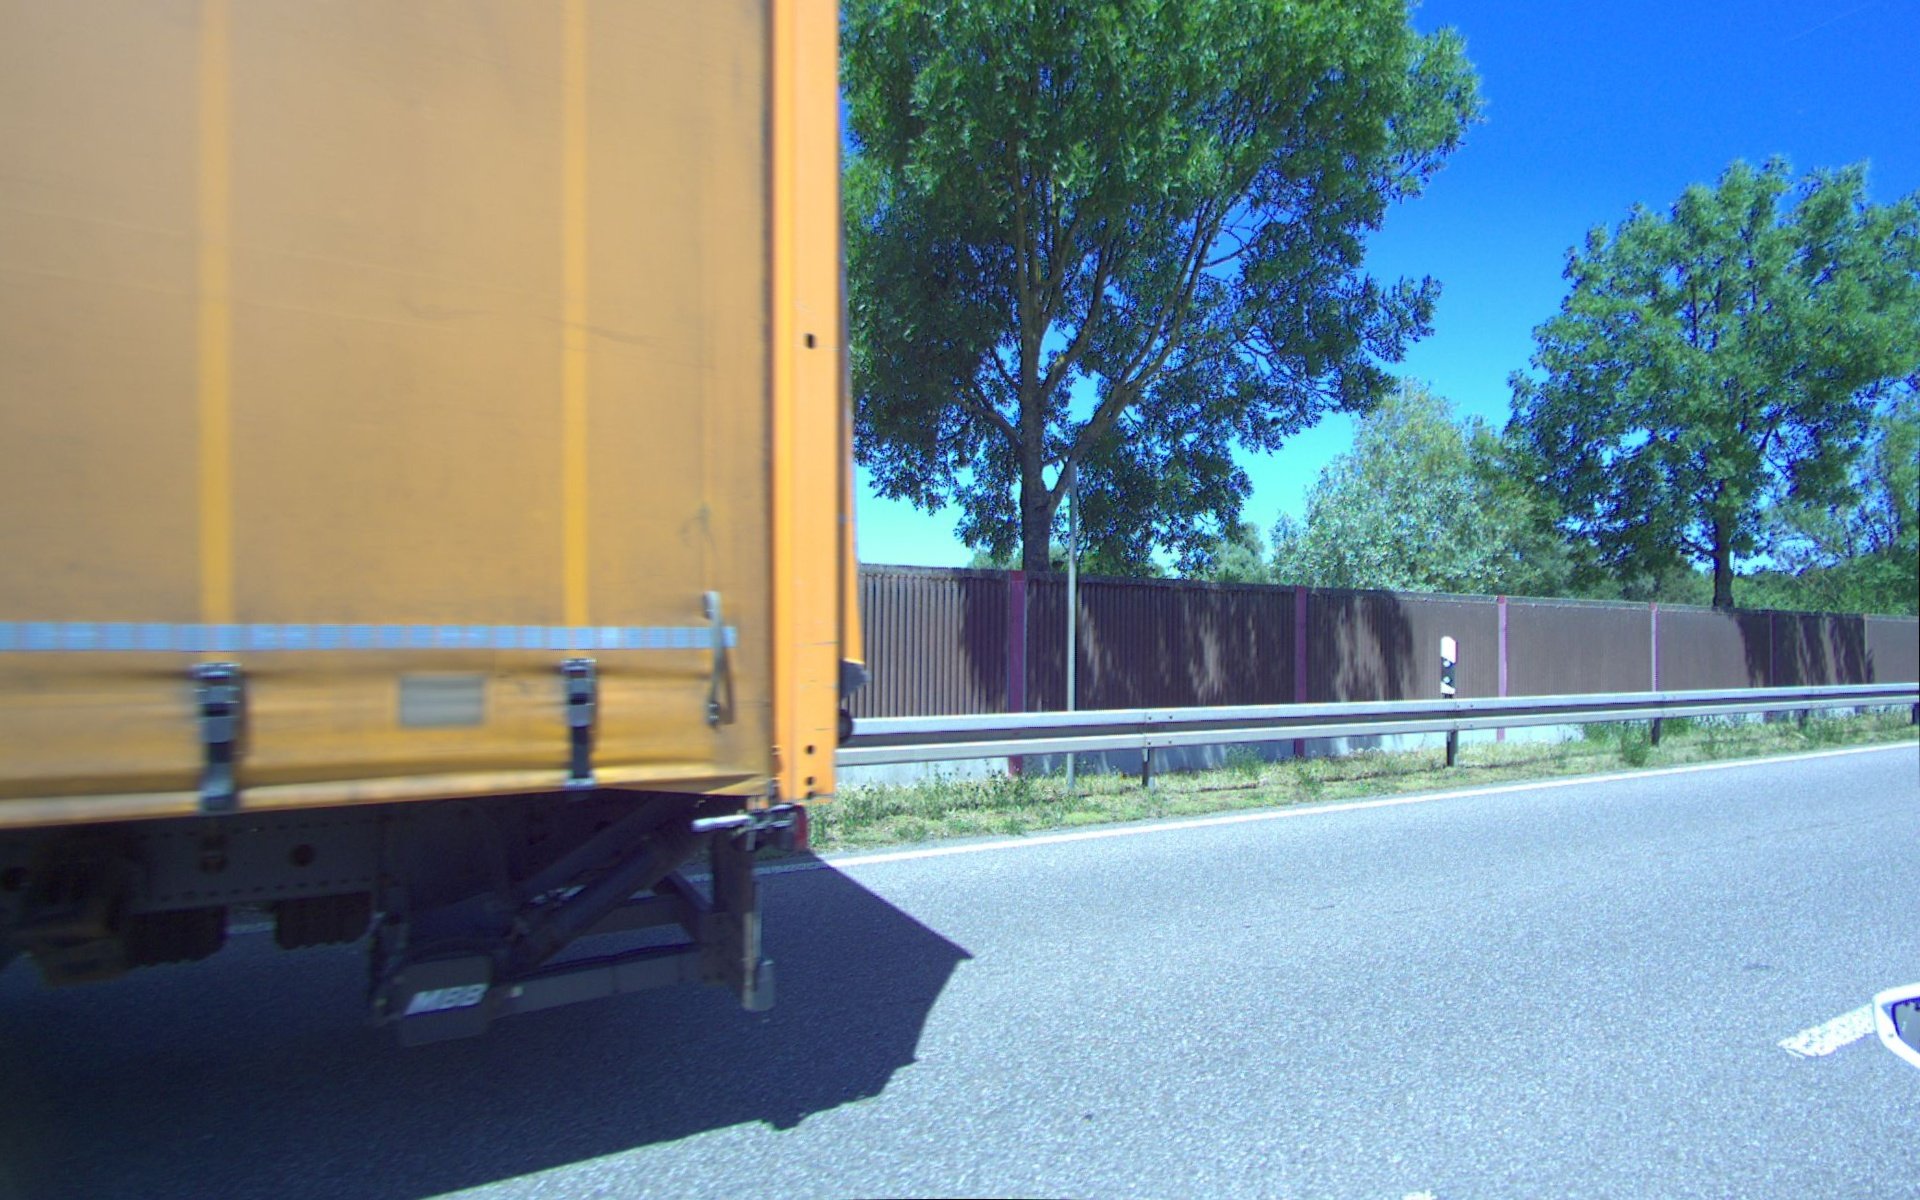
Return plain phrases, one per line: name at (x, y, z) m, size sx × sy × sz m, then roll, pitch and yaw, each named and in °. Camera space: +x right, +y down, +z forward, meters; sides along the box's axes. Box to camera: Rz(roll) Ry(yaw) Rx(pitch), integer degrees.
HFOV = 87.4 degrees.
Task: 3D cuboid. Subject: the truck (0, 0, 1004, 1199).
truck at (-4.570, -0.606, 1.617) m, size 9.214 × 3.891 × 2.779 m, roll 2°, pitch 0°, yaw -30°
